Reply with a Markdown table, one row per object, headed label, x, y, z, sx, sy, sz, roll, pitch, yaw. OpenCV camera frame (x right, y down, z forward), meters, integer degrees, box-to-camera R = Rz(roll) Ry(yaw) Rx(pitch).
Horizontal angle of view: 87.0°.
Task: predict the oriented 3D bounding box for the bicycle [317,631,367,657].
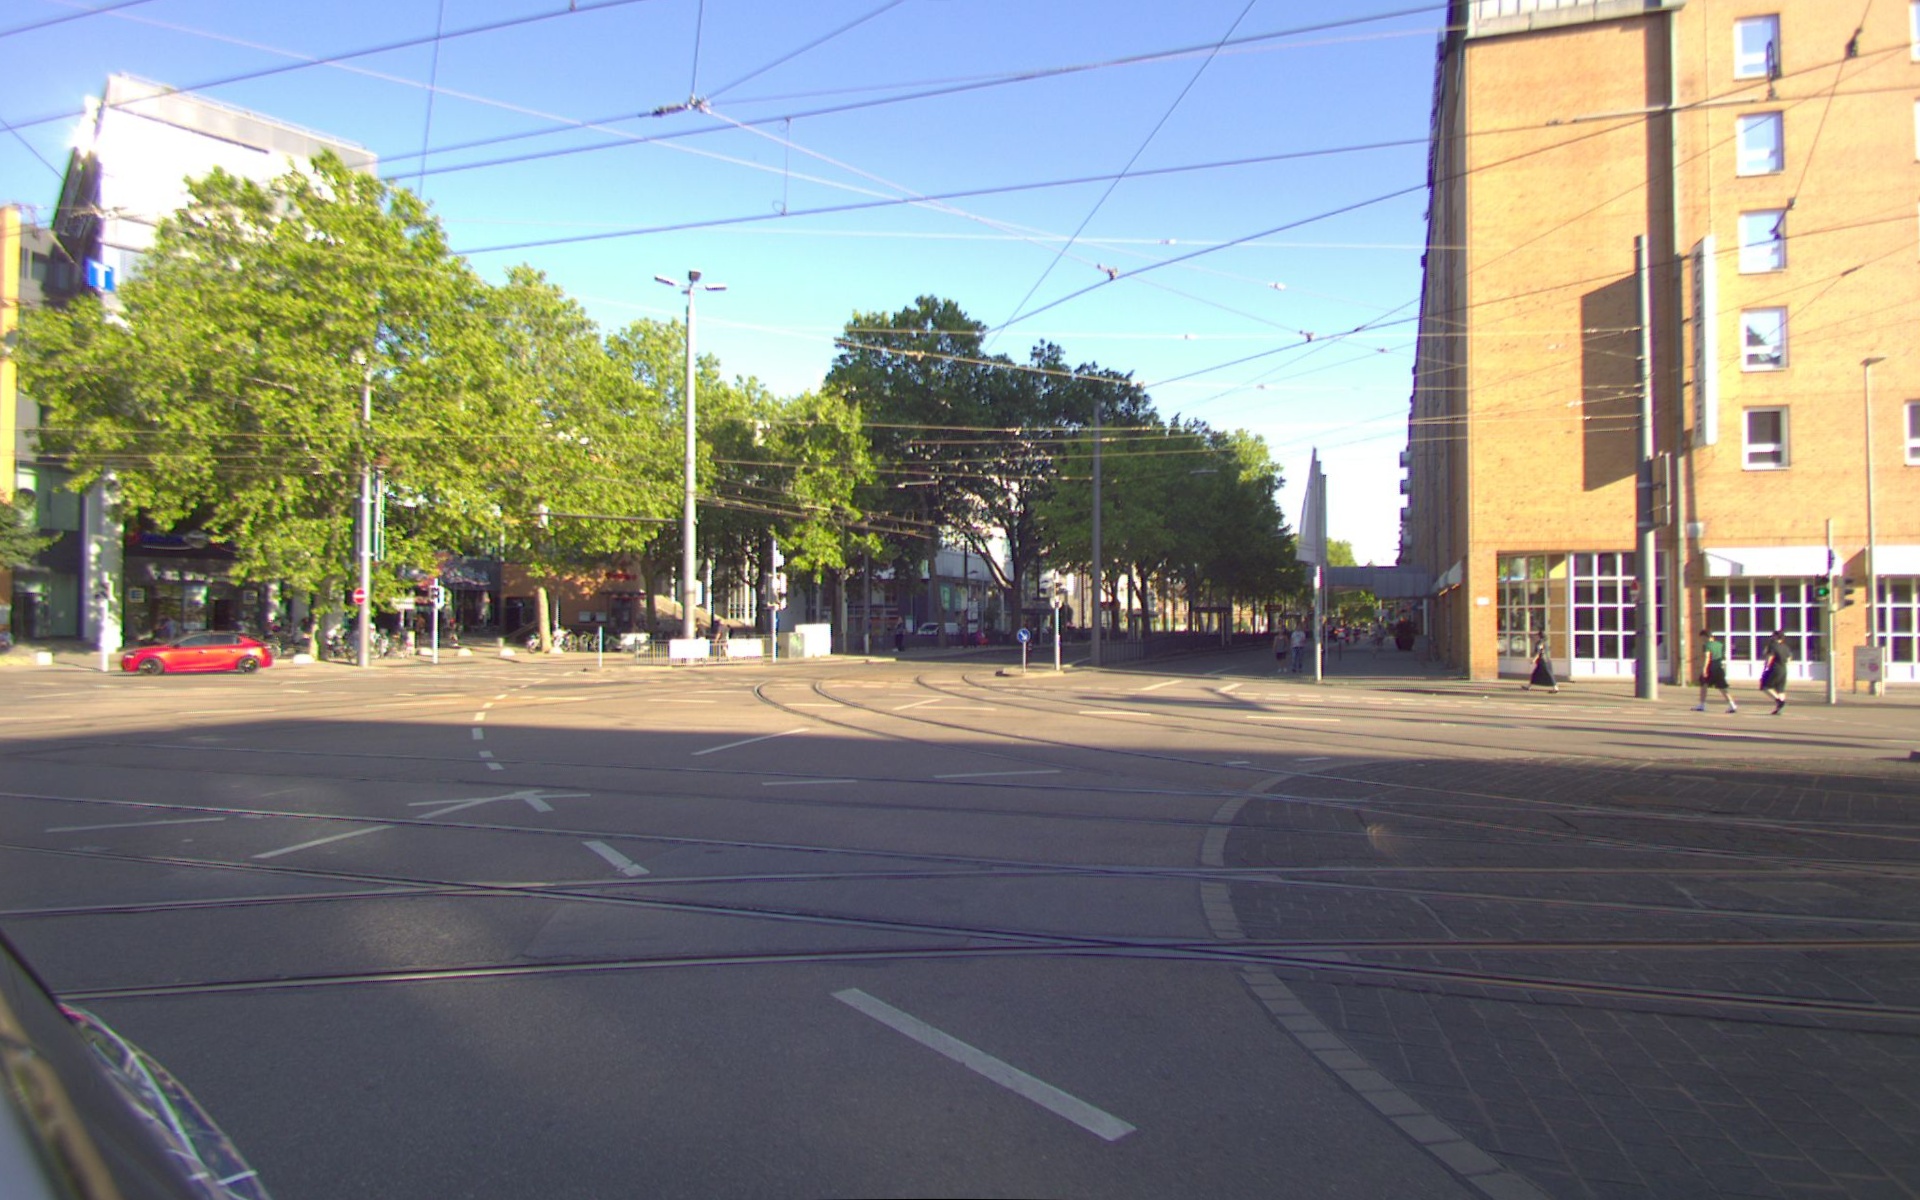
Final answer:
| label | x | y | z | sx | sy | sz | roll | pitch | yaw |
| --- | --- | --- | --- | --- | --- | --- | --- | --- | --- |
| bicycle | -27.875 | 1.994 | 45.666 | 0.770 | 1.138 | 1.831 | 0 | -2 | 21 |

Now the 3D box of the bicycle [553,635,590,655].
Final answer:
| label | x | y | z | sx | sy | sz | roll | pitch | yaw |
| --- | --- | --- | --- | --- | --- | --- | --- | --- | --- |
| bicycle | -21.705 | 2.488 | 56.533 | 0.779 | 1.072 | 1.930 | -1 | -2 | 25 |

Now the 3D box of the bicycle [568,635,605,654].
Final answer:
| label | x | y | z | sx | sy | sz | roll | pitch | yaw |
| --- | --- | --- | --- | --- | --- | --- | --- | --- | --- |
| bicycle | -20.739 | 2.468 | 56.265 | 0.779 | 1.072 | 1.930 | -1 | -2 | 25 |

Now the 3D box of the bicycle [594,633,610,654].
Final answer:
| label | x | y | z | sx | sy | sz | roll | pitch | yaw |
| --- | --- | --- | --- | --- | --- | --- | --- | --- | --- |
| bicycle | -21.009 | 2.547 | 59.351 | 0.770 | 1.198 | 3.569 | 1 | -2 | -20 |

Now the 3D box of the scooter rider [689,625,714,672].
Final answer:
| label | x | y | z | sx | sy | sz | roll | pitch | yaw |
| --- | --- | --- | --- | --- | --- | --- | --- | --- | --- |
| scooter rider | -10.276 | 1.915 | 40.184 | 0.760 | 1.847 | 0.582 | -1 | -2 | 30 |

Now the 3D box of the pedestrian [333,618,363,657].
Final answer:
| label | x | y | z | sx | sy | sz | roll | pitch | yaw |
| --- | --- | --- | --- | --- | --- | --- | --- | --- | --- |
| pedestrian | -28.294 | 1.726 | 46.805 | 0.726 | 1.778 | 0.886 | -2 | -3 | 22 |

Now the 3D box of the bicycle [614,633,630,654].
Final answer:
| label | x | y | z | sx | sy | sz | roll | pitch | yaw |
| --- | --- | --- | --- | --- | --- | --- | --- | --- | --- |
| bicycle | -20.091 | 2.565 | 60.067 | 0.770 | 1.198 | 3.569 | 1 | -2 | -20 |

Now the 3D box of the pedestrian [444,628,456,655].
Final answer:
| label | x | y | z | sx | sy | sz | roll | pitch | yaw |
| --- | --- | --- | --- | --- | --- | --- | --- | --- | --- |
| pedestrian | -32.263 | 2.598 | 64.035 | 0.535 | 1.682 | 0.572 | 2 | -2 | -35 |

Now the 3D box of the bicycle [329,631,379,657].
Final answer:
| label | x | y | z | sx | sy | sz | roll | pitch | yaw |
| --- | --- | --- | --- | --- | --- | --- | --- | --- | --- |
| bicycle | -27.110 | 1.974 | 45.328 | 0.770 | 1.138 | 1.831 | 0 | -2 | 21 |

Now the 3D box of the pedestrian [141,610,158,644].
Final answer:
| label | x | y | z | sx | sy | sz | roll | pitch | yaw |
| --- | --- | --- | --- | --- | --- | --- | --- | --- | --- |
| pedestrian | -41.749 | 1.386 | 52.160 | 0.583 | 1.768 | 0.597 | 2 | -2 | -34 |

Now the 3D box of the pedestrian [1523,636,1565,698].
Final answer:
| label | x | y | z | sx | sy | sz | roll | pitch | yaw |
| --- | --- | --- | --- | --- | --- | --- | --- | --- | --- |
| pedestrian | 15.010 | 1.716 | 26.020 | 0.864 | 1.565 | 0.541 | -1 | -2 | 25 |

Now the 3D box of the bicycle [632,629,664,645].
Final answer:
| label | x | y | z | sx | sy | sz | roll | pitch | yaw |
| --- | --- | --- | --- | --- | --- | --- | --- | --- | --- |
| bicycle | -21.544 | 2.533 | 69.926 | 1.982 | 1.075 | 0.697 | 2 | -2 | -38 |

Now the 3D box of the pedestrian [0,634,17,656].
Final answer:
| label | x | y | z | sx | sy | sz | roll | pitch | yaw |
| --- | --- | --- | --- | --- | --- | --- | --- | --- | --- |
| pedestrian | -48.657 | 2.273 | 51.434 | 0.675 | 1.089 | 0.773 | 0 | -2 | 14 |

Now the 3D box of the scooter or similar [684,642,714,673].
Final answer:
| label | x | y | z | sx | sy | sz | roll | pitch | yaw |
| --- | --- | --- | --- | --- | --- | --- | --- | --- | --- |
| scooter or similar | -10.374 | 2.259 | 40.160 | 1.155 | 1.188 | 0.451 | -1 | -2 | 31 |

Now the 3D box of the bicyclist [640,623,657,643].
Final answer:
| label | x | y | z | sx | sy | sz | roll | pitch | yaw |
| --- | --- | --- | --- | --- | --- | --- | --- | --- | --- |
| bicyclist | -21.535 | 2.275 | 69.959 | 0.943 | 1.355 | 0.676 | 2 | -2 | -37 |

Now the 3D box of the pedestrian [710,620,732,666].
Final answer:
| label | x | y | z | sx | sy | sz | roll | pitch | yaw |
| --- | --- | --- | --- | --- | --- | --- | --- | --- | --- |
| pedestrian | -9.605 | 1.734 | 40.700 | 0.567 | 1.810 | 0.666 | 0 | -2 | 27 |

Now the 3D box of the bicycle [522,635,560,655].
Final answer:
| label | x | y | z | sx | sy | sz | roll | pitch | yaw |
| --- | --- | --- | --- | --- | --- | --- | --- | --- | --- |
| bicycle | -23.508 | 2.516 | 56.830 | 0.779 | 1.072 | 1.930 | -1 | -2 | 25 |

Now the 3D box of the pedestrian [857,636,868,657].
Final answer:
| label | x | y | z | sx | sy | sz | roll | pitch | yaw |
| --- | --- | --- | --- | --- | --- | --- | --- | --- | --- |
| pedestrian | -4.790 | 2.277 | 49.683 | 0.403 | 1.040 | 0.376 | 0 | -2 | 18 |

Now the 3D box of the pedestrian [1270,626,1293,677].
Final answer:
| label | x | y | z | sx | sy | sz | roll | pitch | yaw |
| --- | --- | --- | --- | --- | --- | --- | --- | --- | --- |
| pedestrian | 12.239 | 1.964 | 38.515 | 0.647 | 1.910 | 0.736 | -1 | -2 | 36 |

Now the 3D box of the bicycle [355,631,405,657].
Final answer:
| label | x | y | z | sx | sy | sz | roll | pitch | yaw |
| --- | --- | --- | --- | --- | --- | --- | --- | --- | --- |
| bicycle | -25.588 | 1.935 | 44.675 | 0.770 | 1.138 | 1.831 | 0 | -2 | 21 |

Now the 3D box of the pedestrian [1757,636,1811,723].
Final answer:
| label | x | y | z | sx | sy | sz | roll | pitch | yaw |
| --- | --- | --- | --- | --- | --- | --- | --- | --- | --- |
| pedestrian | 16.890 | 1.614 | 20.749 | 0.778 | 1.731 | 0.632 | -1 | -3 | 44 |

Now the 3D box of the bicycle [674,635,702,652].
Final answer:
| label | x | y | z | sx | sy | sz | roll | pitch | yaw |
| --- | --- | --- | --- | --- | --- | --- | --- | --- | --- |
| bicycle | -17.273 | 2.739 | 64.362 | 0.575 | 1.072 | 1.930 | -1 | -2 | 25 |

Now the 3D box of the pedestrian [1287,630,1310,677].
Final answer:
| label | x | y | z | sx | sy | sz | roll | pitch | yaw |
| --- | --- | --- | --- | --- | --- | --- | --- | --- | --- |
| pedestrian | 12.708 | 1.993 | 37.979 | 0.647 | 1.756 | 0.696 | -2 | -3 | 36 |

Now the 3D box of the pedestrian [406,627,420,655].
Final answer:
| label | x | y | z | sx | sy | sz | roll | pitch | yaw |
| --- | --- | --- | --- | --- | --- | --- | --- | --- | --- |
| pedestrian | -33.539 | 2.530 | 62.022 | 0.543 | 1.682 | 0.563 | -1 | -2 | 40 |

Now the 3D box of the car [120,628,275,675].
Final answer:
| label | x | y | z | sx | sy | sz | roll | pitch | yaw |
| --- | --- | --- | --- | --- | --- | --- | --- | --- | --- |
| car | -24.845 | 1.650 | 33.060 | 3.936 | 1.439 | 1.695 | 1 | -3 | -40 |

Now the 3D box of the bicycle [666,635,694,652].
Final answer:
| label | x | y | z | sx | sy | sz | roll | pitch | yaw |
| --- | --- | --- | --- | --- | --- | --- | --- | --- | --- |
| bicycle | -17.932 | 2.762 | 64.802 | 0.575 | 1.072 | 1.930 | -1 | -2 | 25 |

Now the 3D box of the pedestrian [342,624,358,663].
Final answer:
| label | x | y | z | sx | sy | sz | roll | pitch | yaw |
| --- | --- | --- | --- | --- | --- | --- | --- | --- | --- |
| pedestrian | -24.506 | 1.752 | 40.665 | 0.476 | 1.550 | 0.574 | 1 | -2 | -30 |

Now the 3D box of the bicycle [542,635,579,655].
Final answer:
| label | x | y | z | sx | sy | sz | roll | pitch | yaw |
| --- | --- | --- | --- | --- | --- | --- | --- | --- | --- |
| bicycle | -22.445 | 2.510 | 56.927 | 0.779 | 1.072 | 1.930 | -1 | -2 | 25 |

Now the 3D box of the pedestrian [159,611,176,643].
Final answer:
| label | x | y | z | sx | sy | sz | roll | pitch | yaw |
| --- | --- | --- | --- | --- | --- | --- | --- | --- | --- |
| pedestrian | -41.393 | 1.422 | 52.852 | 0.593 | 1.669 | 0.587 | -1 | -3 | 43 |

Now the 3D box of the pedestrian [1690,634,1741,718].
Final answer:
| label | x | y | z | sx | sy | sz | roll | pitch | yaw |
| --- | --- | --- | --- | --- | --- | --- | --- | --- | --- |
| pedestrian | 16.067 | 1.590 | 21.533 | 0.778 | 1.731 | 0.632 | -1 | -3 | 44 |

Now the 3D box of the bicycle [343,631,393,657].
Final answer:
| label | x | y | z | sx | sy | sz | roll | pitch | yaw |
| --- | --- | --- | --- | --- | --- | --- | --- | --- | --- |
| bicycle | -26.332 | 1.956 | 45.031 | 0.770 | 1.138 | 1.831 | 0 | -2 | 21 |

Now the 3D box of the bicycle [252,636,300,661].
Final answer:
| label | x | y | z | sx | sy | sz | roll | pitch | yaw |
| --- | --- | --- | --- | --- | --- | --- | --- | --- | --- |
| bicycle | -29.940 | 2.116 | 44.308 | 0.546 | 1.044 | 1.685 | -1 | -2 | 25 |
